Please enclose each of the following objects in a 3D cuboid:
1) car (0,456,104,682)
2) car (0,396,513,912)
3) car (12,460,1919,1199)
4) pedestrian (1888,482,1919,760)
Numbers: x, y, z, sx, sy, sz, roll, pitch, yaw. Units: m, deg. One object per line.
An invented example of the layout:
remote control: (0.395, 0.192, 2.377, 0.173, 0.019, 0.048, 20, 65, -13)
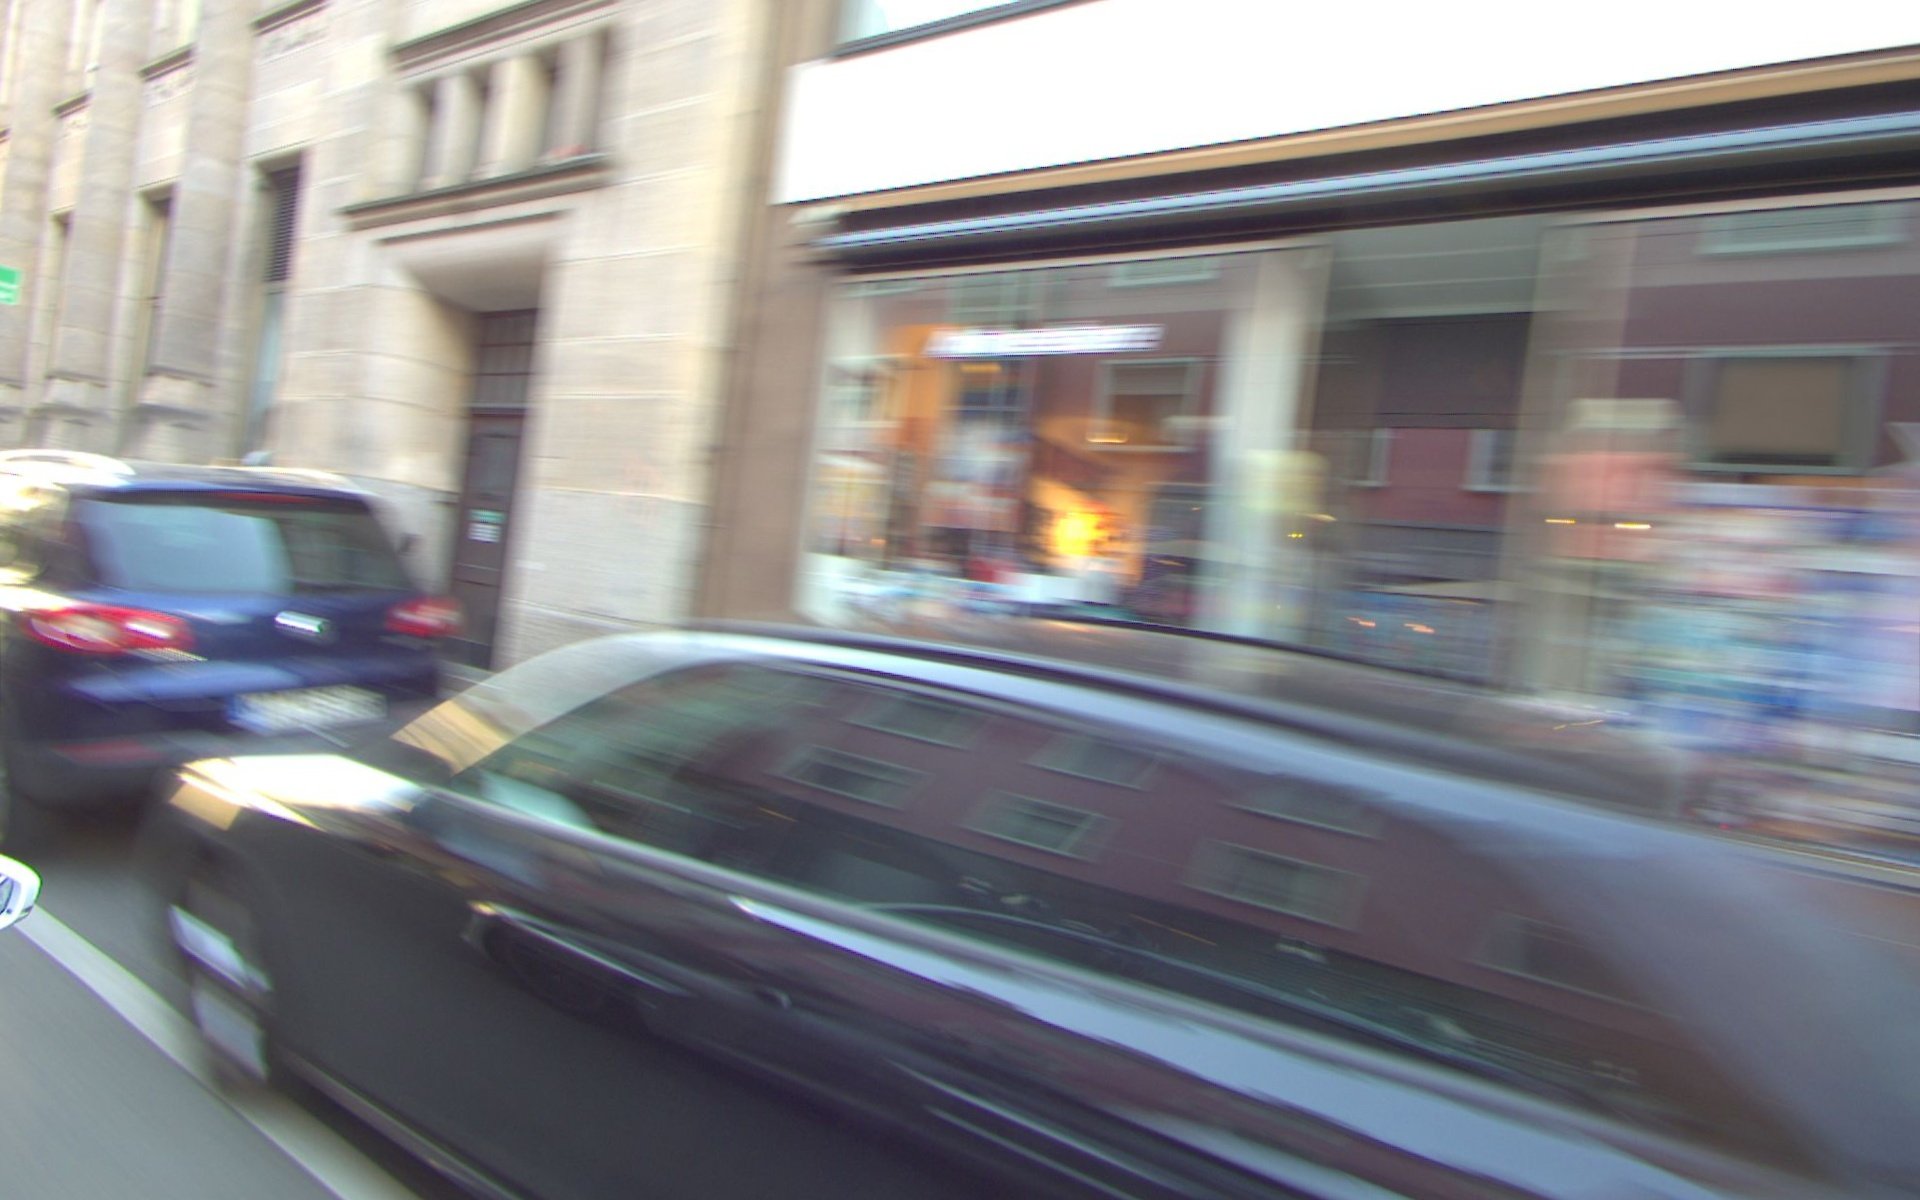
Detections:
car: (-9.074, -0.470, 8.219, 3.931, 1.686, 1.777, 7, -1, 29)
car: (-4.505, 0.065, 5.373, 4.170, 1.827, 1.674, 7, -2, 33)
car: (-0.316, 0.677, 2.526, 4.908, 1.534, 1.693, 7, -1, 32)
pedestrian: (4.258, 0.007, 4.150, 0.417, 1.365, 0.437, 7, -1, 29)
